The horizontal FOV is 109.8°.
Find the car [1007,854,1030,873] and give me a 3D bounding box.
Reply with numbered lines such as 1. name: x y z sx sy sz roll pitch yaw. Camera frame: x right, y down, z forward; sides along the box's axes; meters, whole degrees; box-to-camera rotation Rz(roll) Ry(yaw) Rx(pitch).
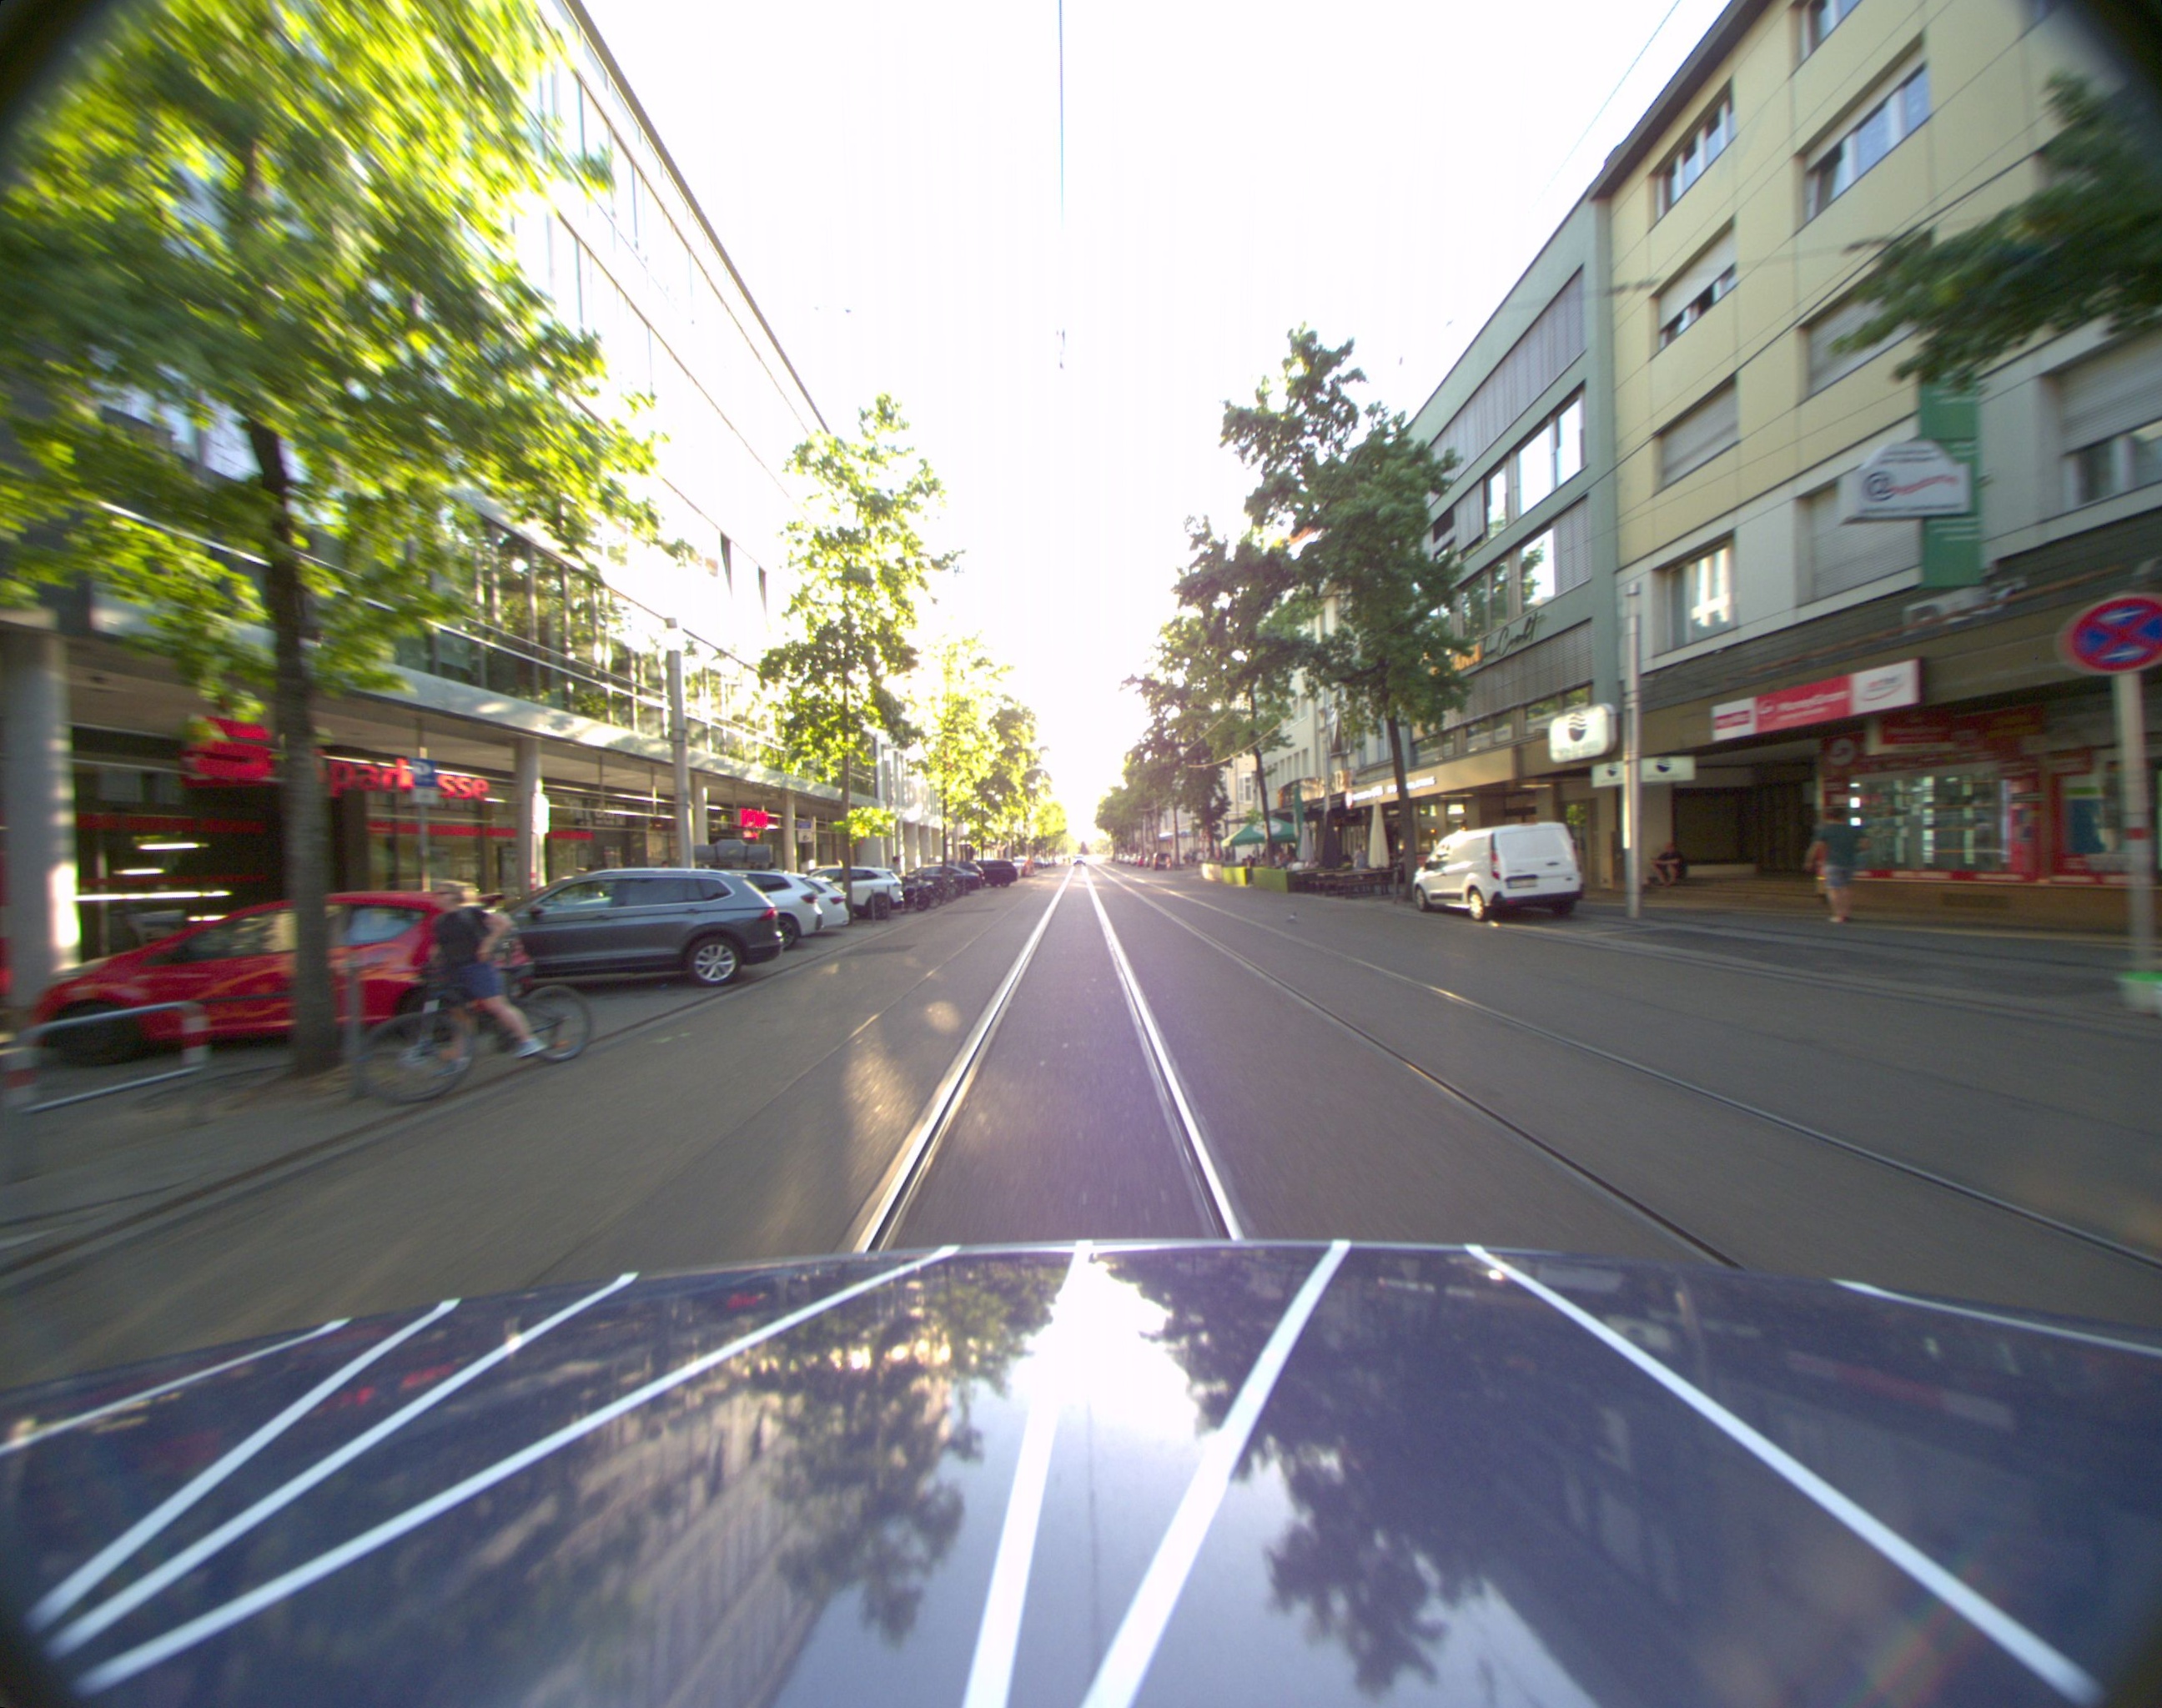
1. car: -6.194 0.933 76.172 2.028 1.727 4.906 1 0 -2

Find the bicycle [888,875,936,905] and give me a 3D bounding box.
1. bicycle: -6.516 1.375 29.265 1.697 1.099 0.631 1 1 -26

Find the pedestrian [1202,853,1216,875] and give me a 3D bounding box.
1. pedestrian: 8.259 0.648 48.919 0.691 1.378 0.807 -4 1 1

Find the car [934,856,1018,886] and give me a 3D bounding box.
1. car: -6.454 0.998 46.836 4.674 1.753 1.990 1 0 -29

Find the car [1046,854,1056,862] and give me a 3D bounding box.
1. car: -5.801 0.775 146.288 1.798 1.502 3.985 1 0 0

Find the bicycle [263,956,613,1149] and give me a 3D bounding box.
1. bicycle: -4.962 1.471 6.112 0.719 0.989 2.061 -4 0 14

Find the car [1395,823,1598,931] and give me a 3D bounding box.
1. car: 8.573 0.417 16.228 1.800 1.854 4.553 -5 0 1

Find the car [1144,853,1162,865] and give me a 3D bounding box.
1. car: 8.671 0.555 91.690 1.722 1.238 4.507 -5 0 0

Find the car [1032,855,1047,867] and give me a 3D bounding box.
1. car: -6.092 1.043 111.502 1.985 1.679 4.873 1 0 0

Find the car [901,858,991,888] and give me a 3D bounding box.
1. car: -7.715 1.043 43.419 4.673 1.645 2.004 0 0 -24

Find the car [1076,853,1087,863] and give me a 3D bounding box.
1. car: 0.069 0.610 125.873 1.827 1.603 3.796 -2 0 0

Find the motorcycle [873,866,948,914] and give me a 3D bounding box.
1. motorcycle: -5.692 1.175 25.489 2.324 1.501 0.856 0 1 -43

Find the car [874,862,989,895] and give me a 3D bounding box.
1. car: -7.209 1.158 36.898 5.071 1.460 1.972 1 0 -36

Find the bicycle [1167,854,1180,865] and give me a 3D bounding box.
1. bicycle: 10.292 0.588 84.929 0.760 1.115 2.045 -5 1 -11

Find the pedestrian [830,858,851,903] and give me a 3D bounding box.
1. pedestrian: -9.267 1.002 29.292 0.681 1.686 0.549 -2 1 -12

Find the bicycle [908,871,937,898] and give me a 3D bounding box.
1. bicycle: -7.036 1.347 33.720 0.553 1.101 1.845 0 0 -36

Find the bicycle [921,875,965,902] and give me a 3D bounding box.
1. bicycle: -5.672 1.421 31.228 1.566 1.082 0.867 1 -1 -30

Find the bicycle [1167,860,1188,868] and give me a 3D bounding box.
1. bicycle: 8.803 0.930 69.675 1.799 0.605 1.282 -3 0 3

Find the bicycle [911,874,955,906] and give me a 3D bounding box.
1. bicycle: -5.627 1.342 28.980 0.480 1.157 1.698 2 1 40

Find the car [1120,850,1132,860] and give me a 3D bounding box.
1. car: 8.677 0.211 148.054 1.952 1.731 4.765 -5 0 0

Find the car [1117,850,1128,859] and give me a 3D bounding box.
1. car: 8.864 0.109 162.928 1.932 1.946 4.765 -1 0 0

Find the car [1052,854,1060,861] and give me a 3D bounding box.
1. car: -5.641 0.779 170.492 1.564 1.391 3.697 1 0 0

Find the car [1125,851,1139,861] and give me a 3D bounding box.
1. car: 8.638 0.342 128.634 1.897 1.458 4.616 -5 0 1

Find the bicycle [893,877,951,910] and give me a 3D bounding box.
1. bicycle: -5.621 1.384 26.922 1.899 1.113 0.666 0 1 -29

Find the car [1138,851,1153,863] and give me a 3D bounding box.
1. car: 8.540 0.383 100.719 1.664 1.397 4.140 -5 0 1

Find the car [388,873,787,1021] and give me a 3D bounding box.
1. car: -6.572 1.124 10.639 4.364 1.642 1.690 0 0 -31

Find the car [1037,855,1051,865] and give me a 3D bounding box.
1. car: -5.836 0.860 119.353 1.871 1.502 4.241 1 0 -8

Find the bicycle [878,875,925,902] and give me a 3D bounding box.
1. bicycle: -7.184 1.371 30.361 1.677 1.068 0.731 1 -1 -30

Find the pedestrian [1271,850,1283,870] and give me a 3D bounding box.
1. pedestrian: 11.964 0.358 46.389 0.554 1.155 0.687 -4 1 1

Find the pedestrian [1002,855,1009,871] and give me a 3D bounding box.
1. pedestrian: -8.962 1.080 89.810 0.690 1.820 0.634 -2 1 0

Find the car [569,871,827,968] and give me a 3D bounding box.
1. car: -7.373 1.167 14.836 4.256 1.578 1.879 0 0 -31

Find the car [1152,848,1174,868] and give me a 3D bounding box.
1. car: 8.384 0.385 78.209 1.862 1.821 4.559 -3 0 2

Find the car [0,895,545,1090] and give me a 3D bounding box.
1. car: -7.617 1.205 7.551 3.402 1.472 1.664 0 0 -19

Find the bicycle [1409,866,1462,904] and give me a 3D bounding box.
1. bicycle: 9.657 0.832 20.656 0.834 0.860 1.864 -4 0 39

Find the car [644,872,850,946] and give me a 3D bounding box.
1. car: -7.617 1.204 17.576 4.165 1.490 1.685 0 0 -24

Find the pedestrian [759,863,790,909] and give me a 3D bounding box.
1. pedestrian: -11.028 1.125 27.332 0.716 1.614 0.882 -1 1 1

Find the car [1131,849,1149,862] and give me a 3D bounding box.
1. car: 8.510 0.243 110.244 1.870 1.679 4.950 -5 0 -3

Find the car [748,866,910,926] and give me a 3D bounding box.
1. car: -7.336 1.155 22.204 4.167 1.562 1.849 0 0 -33
